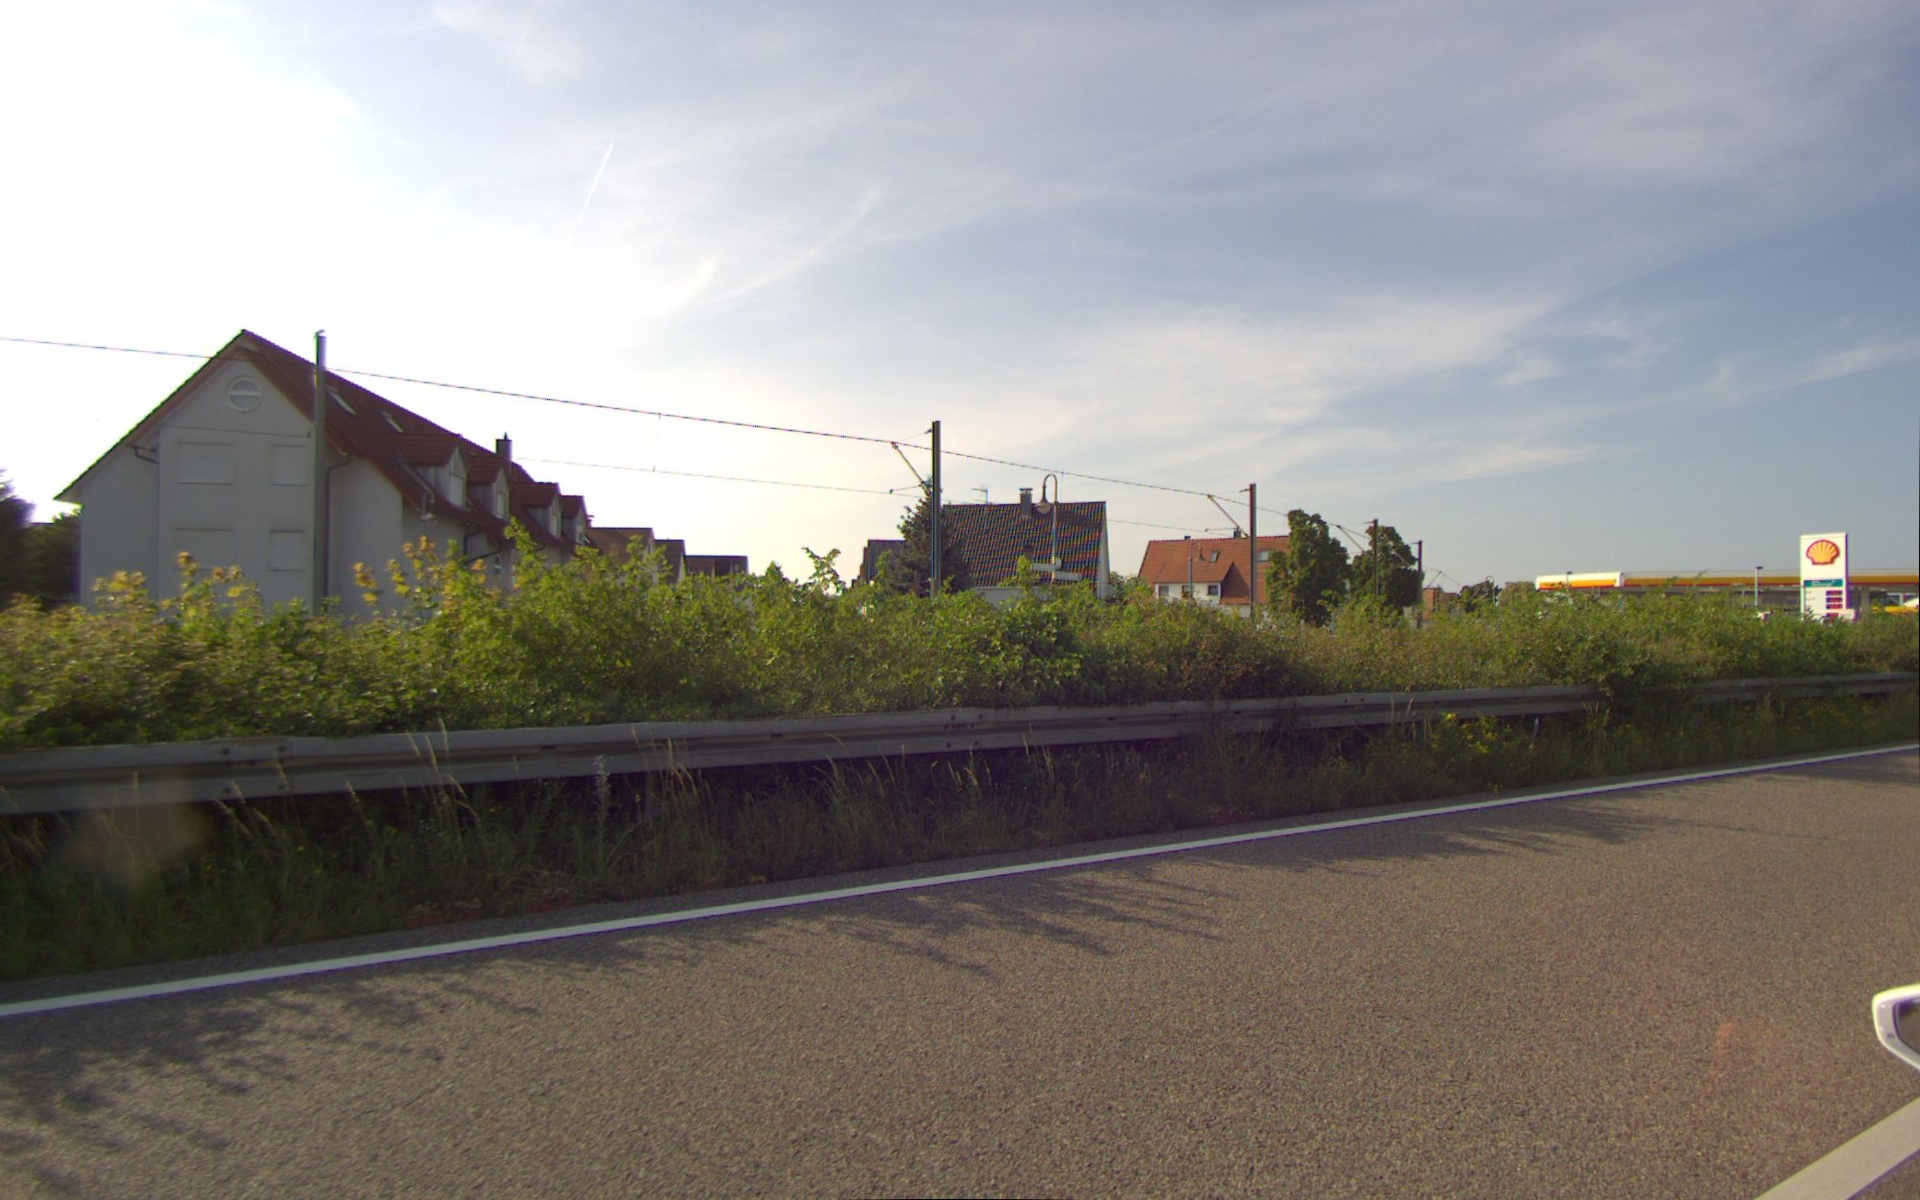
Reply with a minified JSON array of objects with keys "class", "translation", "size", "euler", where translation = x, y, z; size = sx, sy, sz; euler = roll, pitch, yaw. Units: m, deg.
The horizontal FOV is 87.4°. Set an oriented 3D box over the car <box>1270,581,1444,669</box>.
[{"class":"car","translation":[9.854,0.605,24.915],"size":[3.953,2.040,1.984],"euler":[2,0,-30]}]
